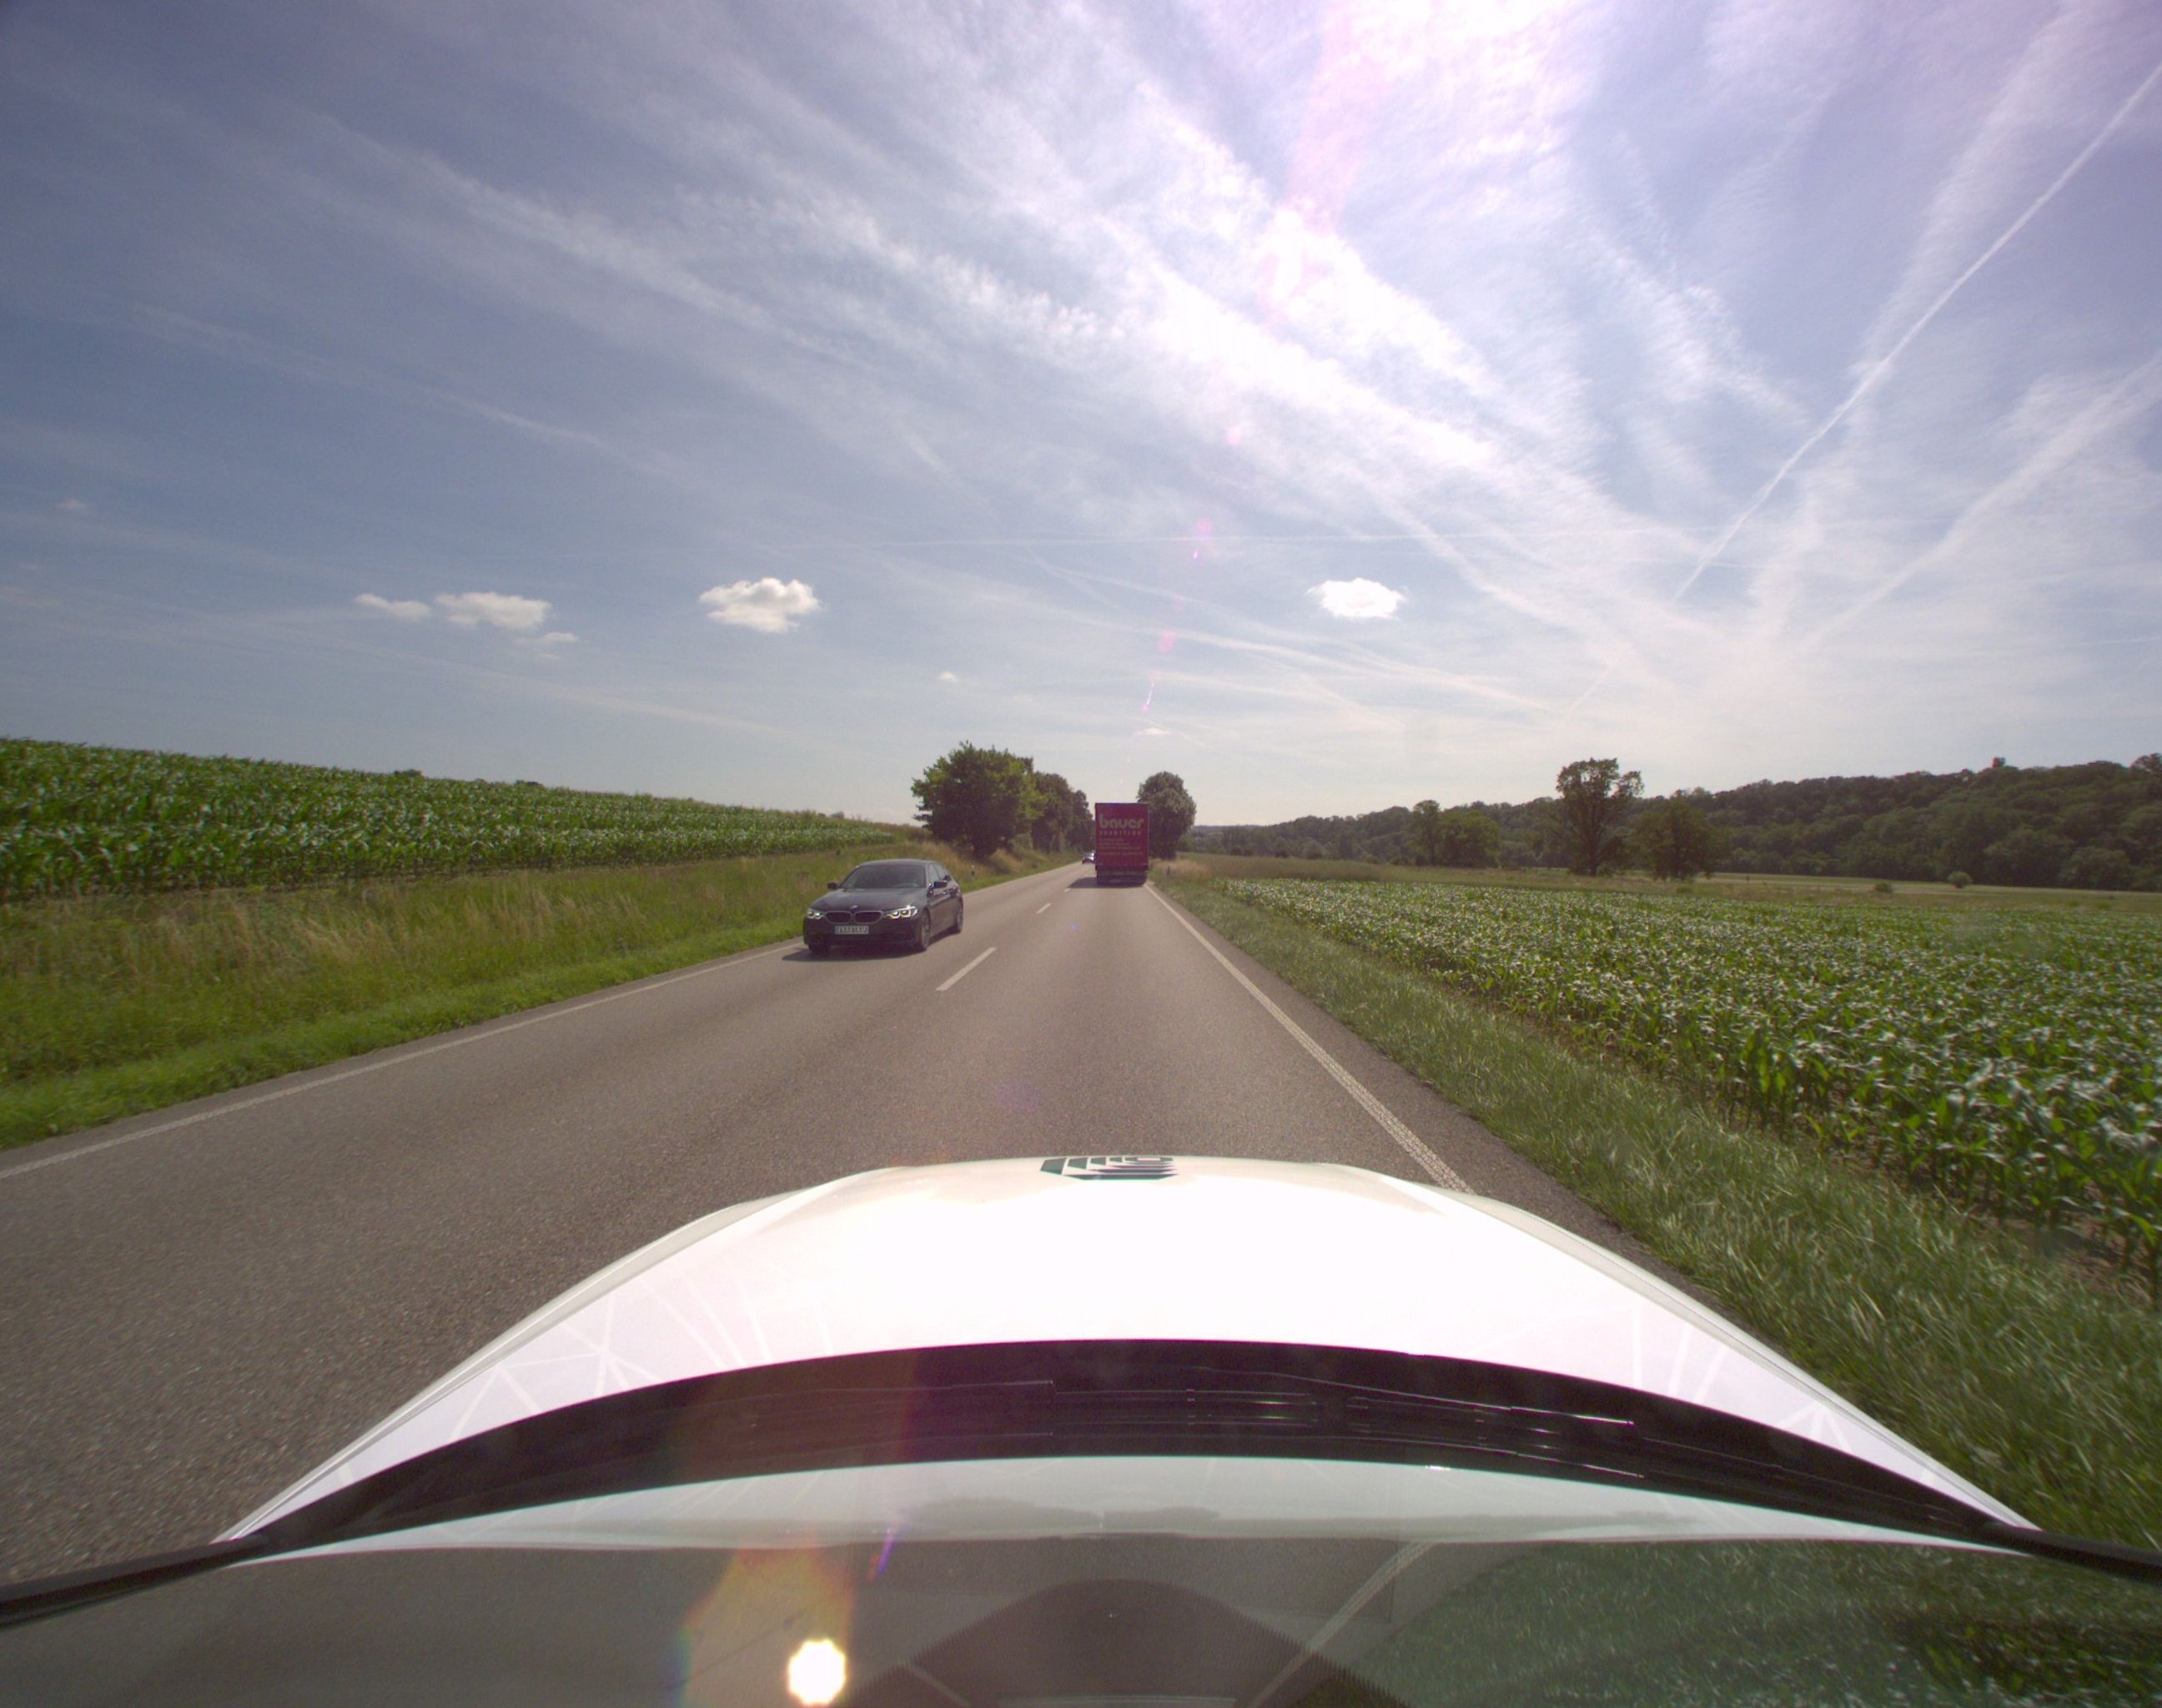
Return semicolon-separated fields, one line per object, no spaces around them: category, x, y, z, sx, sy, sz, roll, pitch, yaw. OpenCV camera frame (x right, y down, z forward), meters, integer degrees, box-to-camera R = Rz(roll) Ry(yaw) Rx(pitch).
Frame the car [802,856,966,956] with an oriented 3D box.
car;-3.288;0.795;14.461;1.666;1.457;4.353;-1;0;2

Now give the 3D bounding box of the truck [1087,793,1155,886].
truck;2.173;-0.626;42.238;3.080;4.263;8.323;-1;-1;4

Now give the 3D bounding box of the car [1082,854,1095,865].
car;1.097;0.810;114.886;1.650;1.534;4.361;0;0;2
